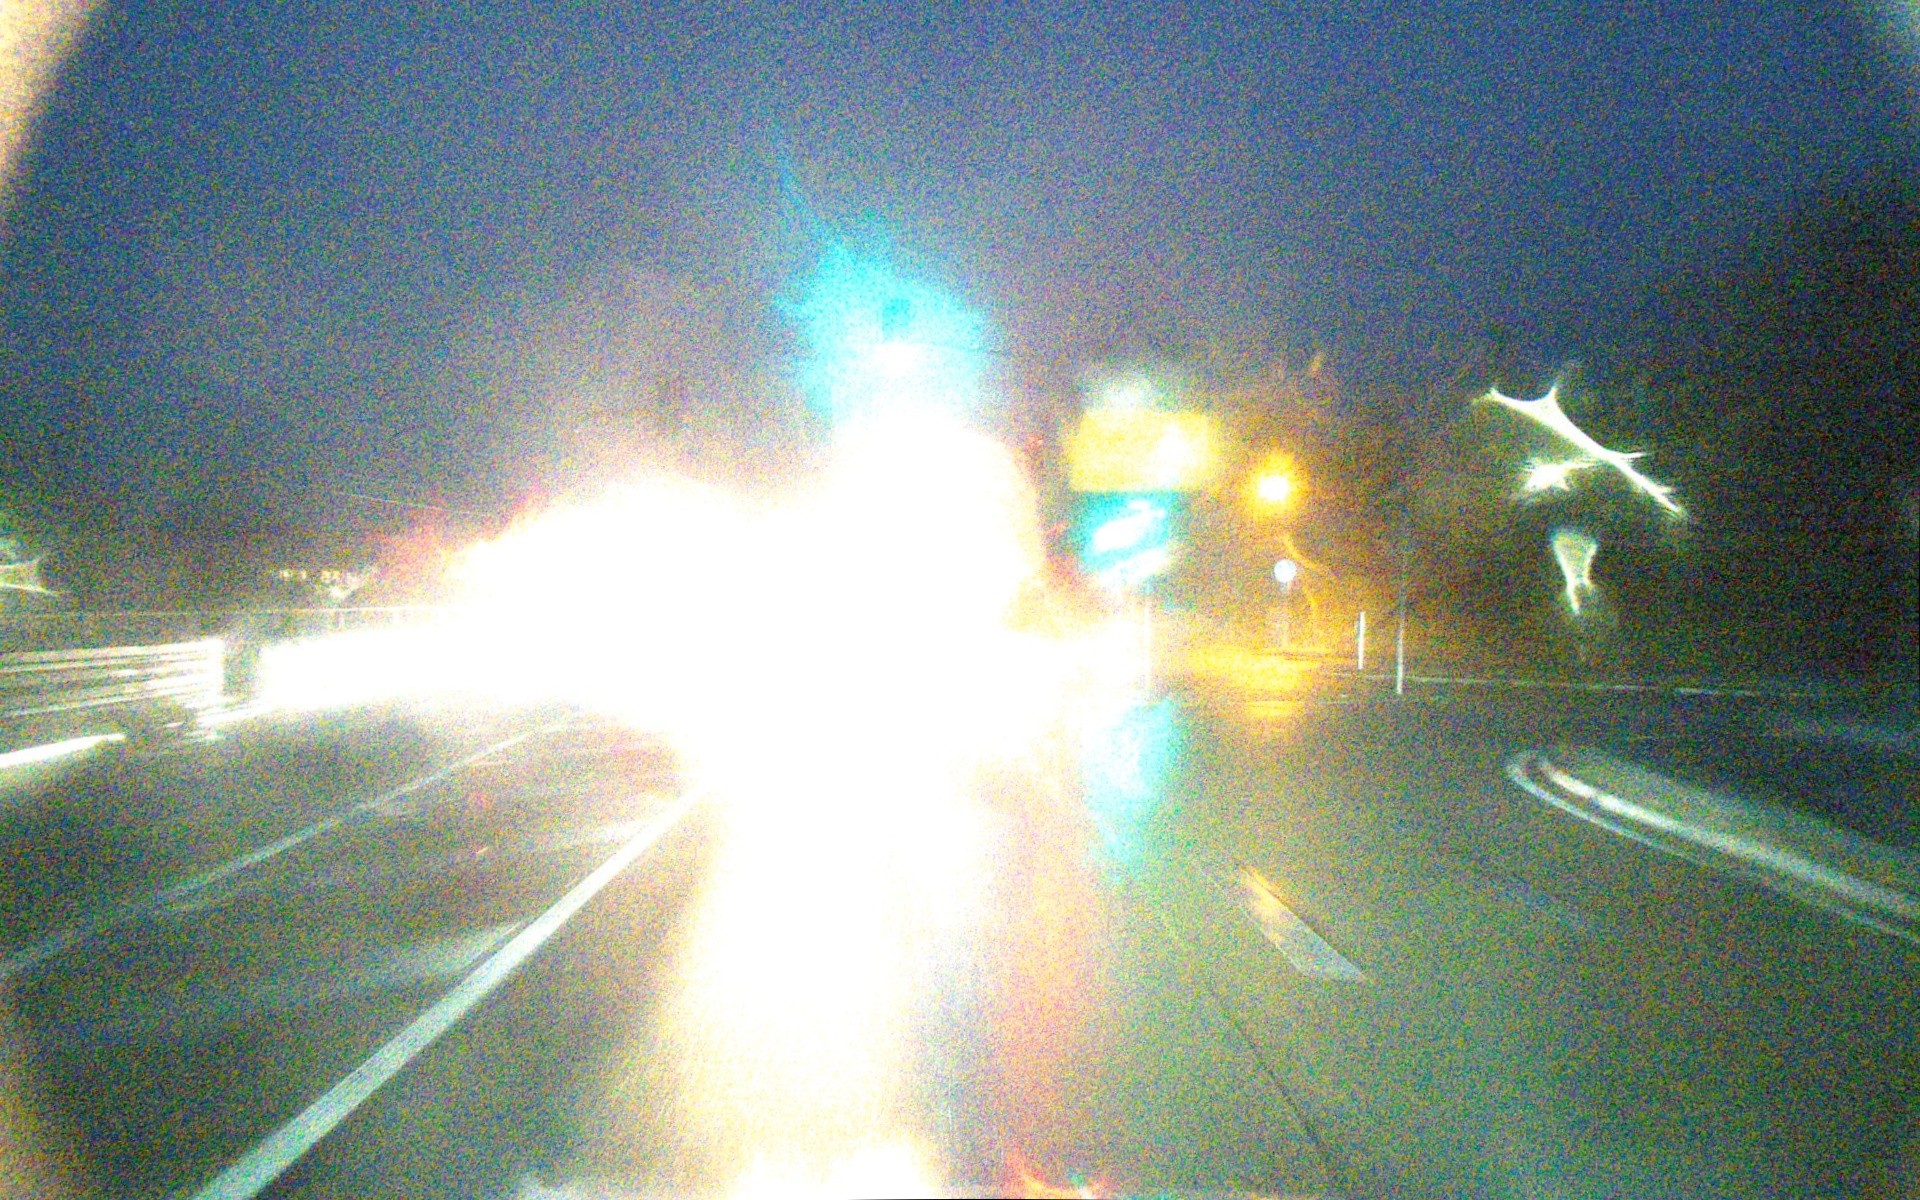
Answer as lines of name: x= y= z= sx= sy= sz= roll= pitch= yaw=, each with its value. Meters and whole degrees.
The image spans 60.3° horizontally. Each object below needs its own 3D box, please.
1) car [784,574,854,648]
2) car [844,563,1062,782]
car: x=-4.211 y=0.361 z=49.174 sx=1.955 sy=2.049 sz=3.994 roll=-1 pitch=-2 yaw=-6
car: x=-0.140 y=0.584 z=15.278 sx=1.740 sy=1.742 sz=3.998 roll=1 pitch=0 yaw=-3
